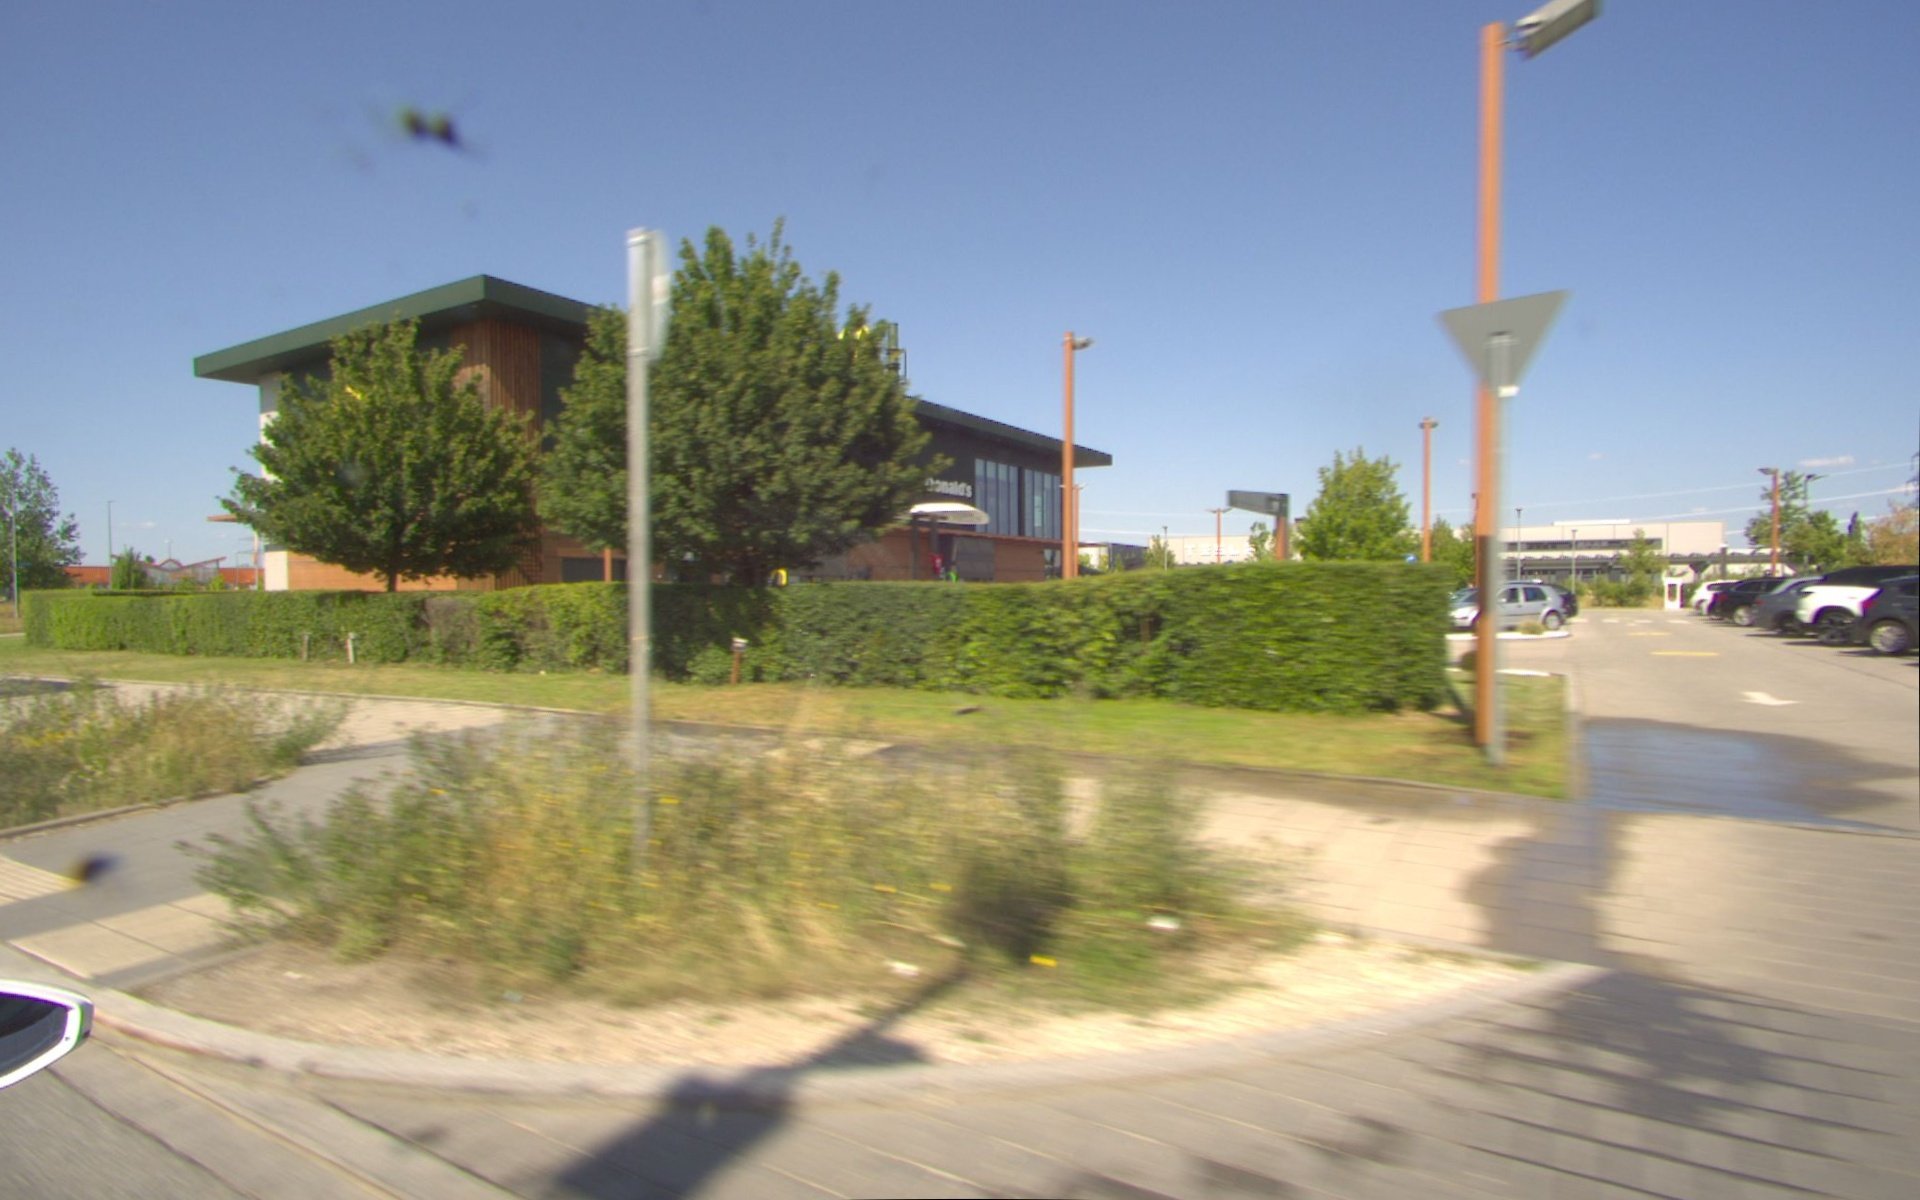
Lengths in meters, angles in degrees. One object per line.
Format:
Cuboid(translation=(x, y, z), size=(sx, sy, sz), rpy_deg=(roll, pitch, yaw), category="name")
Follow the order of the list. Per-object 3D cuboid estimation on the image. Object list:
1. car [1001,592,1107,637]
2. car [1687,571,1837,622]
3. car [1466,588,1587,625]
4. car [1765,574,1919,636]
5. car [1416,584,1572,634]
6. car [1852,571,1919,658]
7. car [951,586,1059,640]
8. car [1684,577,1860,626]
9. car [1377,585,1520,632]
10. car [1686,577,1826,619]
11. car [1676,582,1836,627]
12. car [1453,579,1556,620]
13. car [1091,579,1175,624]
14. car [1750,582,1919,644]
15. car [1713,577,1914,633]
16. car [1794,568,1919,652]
Cuboid(translation=(3.195, 0.486, 34.749), size=(1.771, 1.453, 3.982), rpy_deg=(-1, 0, -27), category="car")
Cuboid(translation=(29.928, -0.113, 37.537), size=(1.759, 1.781, 4.162), rpy_deg=(-1, 0, -15), category="car")
Cuboid(translation=(22.969, 0.235, 40.643), size=(4.103, 1.391, 1.796), rpy_deg=(-1, 1, -12), category="car")
Cuboid(translation=(23.236, 0.111, 25.392), size=(1.759, 1.470, 4.162), rpy_deg=(-1, 0, -15), category="car")
Cuboid(translation=(16.040, 0.243, 30.124), size=(3.926, 1.391, 1.796), rpy_deg=(-1, 1, -12), category="car")
Cuboid(translation=(17.432, 0.235, 16.237), size=(1.759, 1.481, 4.162), rpy_deg=(-1, 0, -15), category="car")
Cuboid(translation=(1.387, 0.397, 32.477), size=(1.771, 1.626, 3.982), rpy_deg=(-1, 0, -27), category="car")
Cuboid(translation=(26.007, 0.041, 32.268), size=(1.759, 1.470, 4.162), rpy_deg=(-1, 0, -15), category="car")
Cuboid(translation=(15.853, 0.260, 32.553), size=(3.926, 1.391, 1.796), rpy_deg=(-1, 1, -12), category="car")
Cuboid(translation=(31.718, -0.080, 40.037), size=(1.759, 1.543, 4.162), rpy_deg=(-1, 0, -15), category="car")
Cuboid(translation=(27.759, 0.157, 35.084), size=(1.759, 1.470, 4.162), rpy_deg=(-1, 0, -15), category="car")
Cuboid(translation=(24.764, -0.029, 45.685), size=(1.759, 1.781, 4.162), rpy_deg=(-1, 0, -15), category="car")
Cuboid(translation=(7.013, 0.076, 40.884), size=(1.766, 1.724, 3.992), rpy_deg=(-1, 0, -17), category="car")
Cuboid(translation=(20.865, 0.259, 22.921), size=(1.759, 1.315, 4.162), rpy_deg=(-1, 0, -15), category="car")
Cuboid(translation=(24.452, 0.130, 28.895), size=(1.759, 1.470, 4.162), rpy_deg=(-1, 0, -15), category="car")
Cuboid(translation=(18.910, 0.178, 19.274), size=(1.759, 1.600, 4.162), rpy_deg=(-1, 0, -15), category="car")
